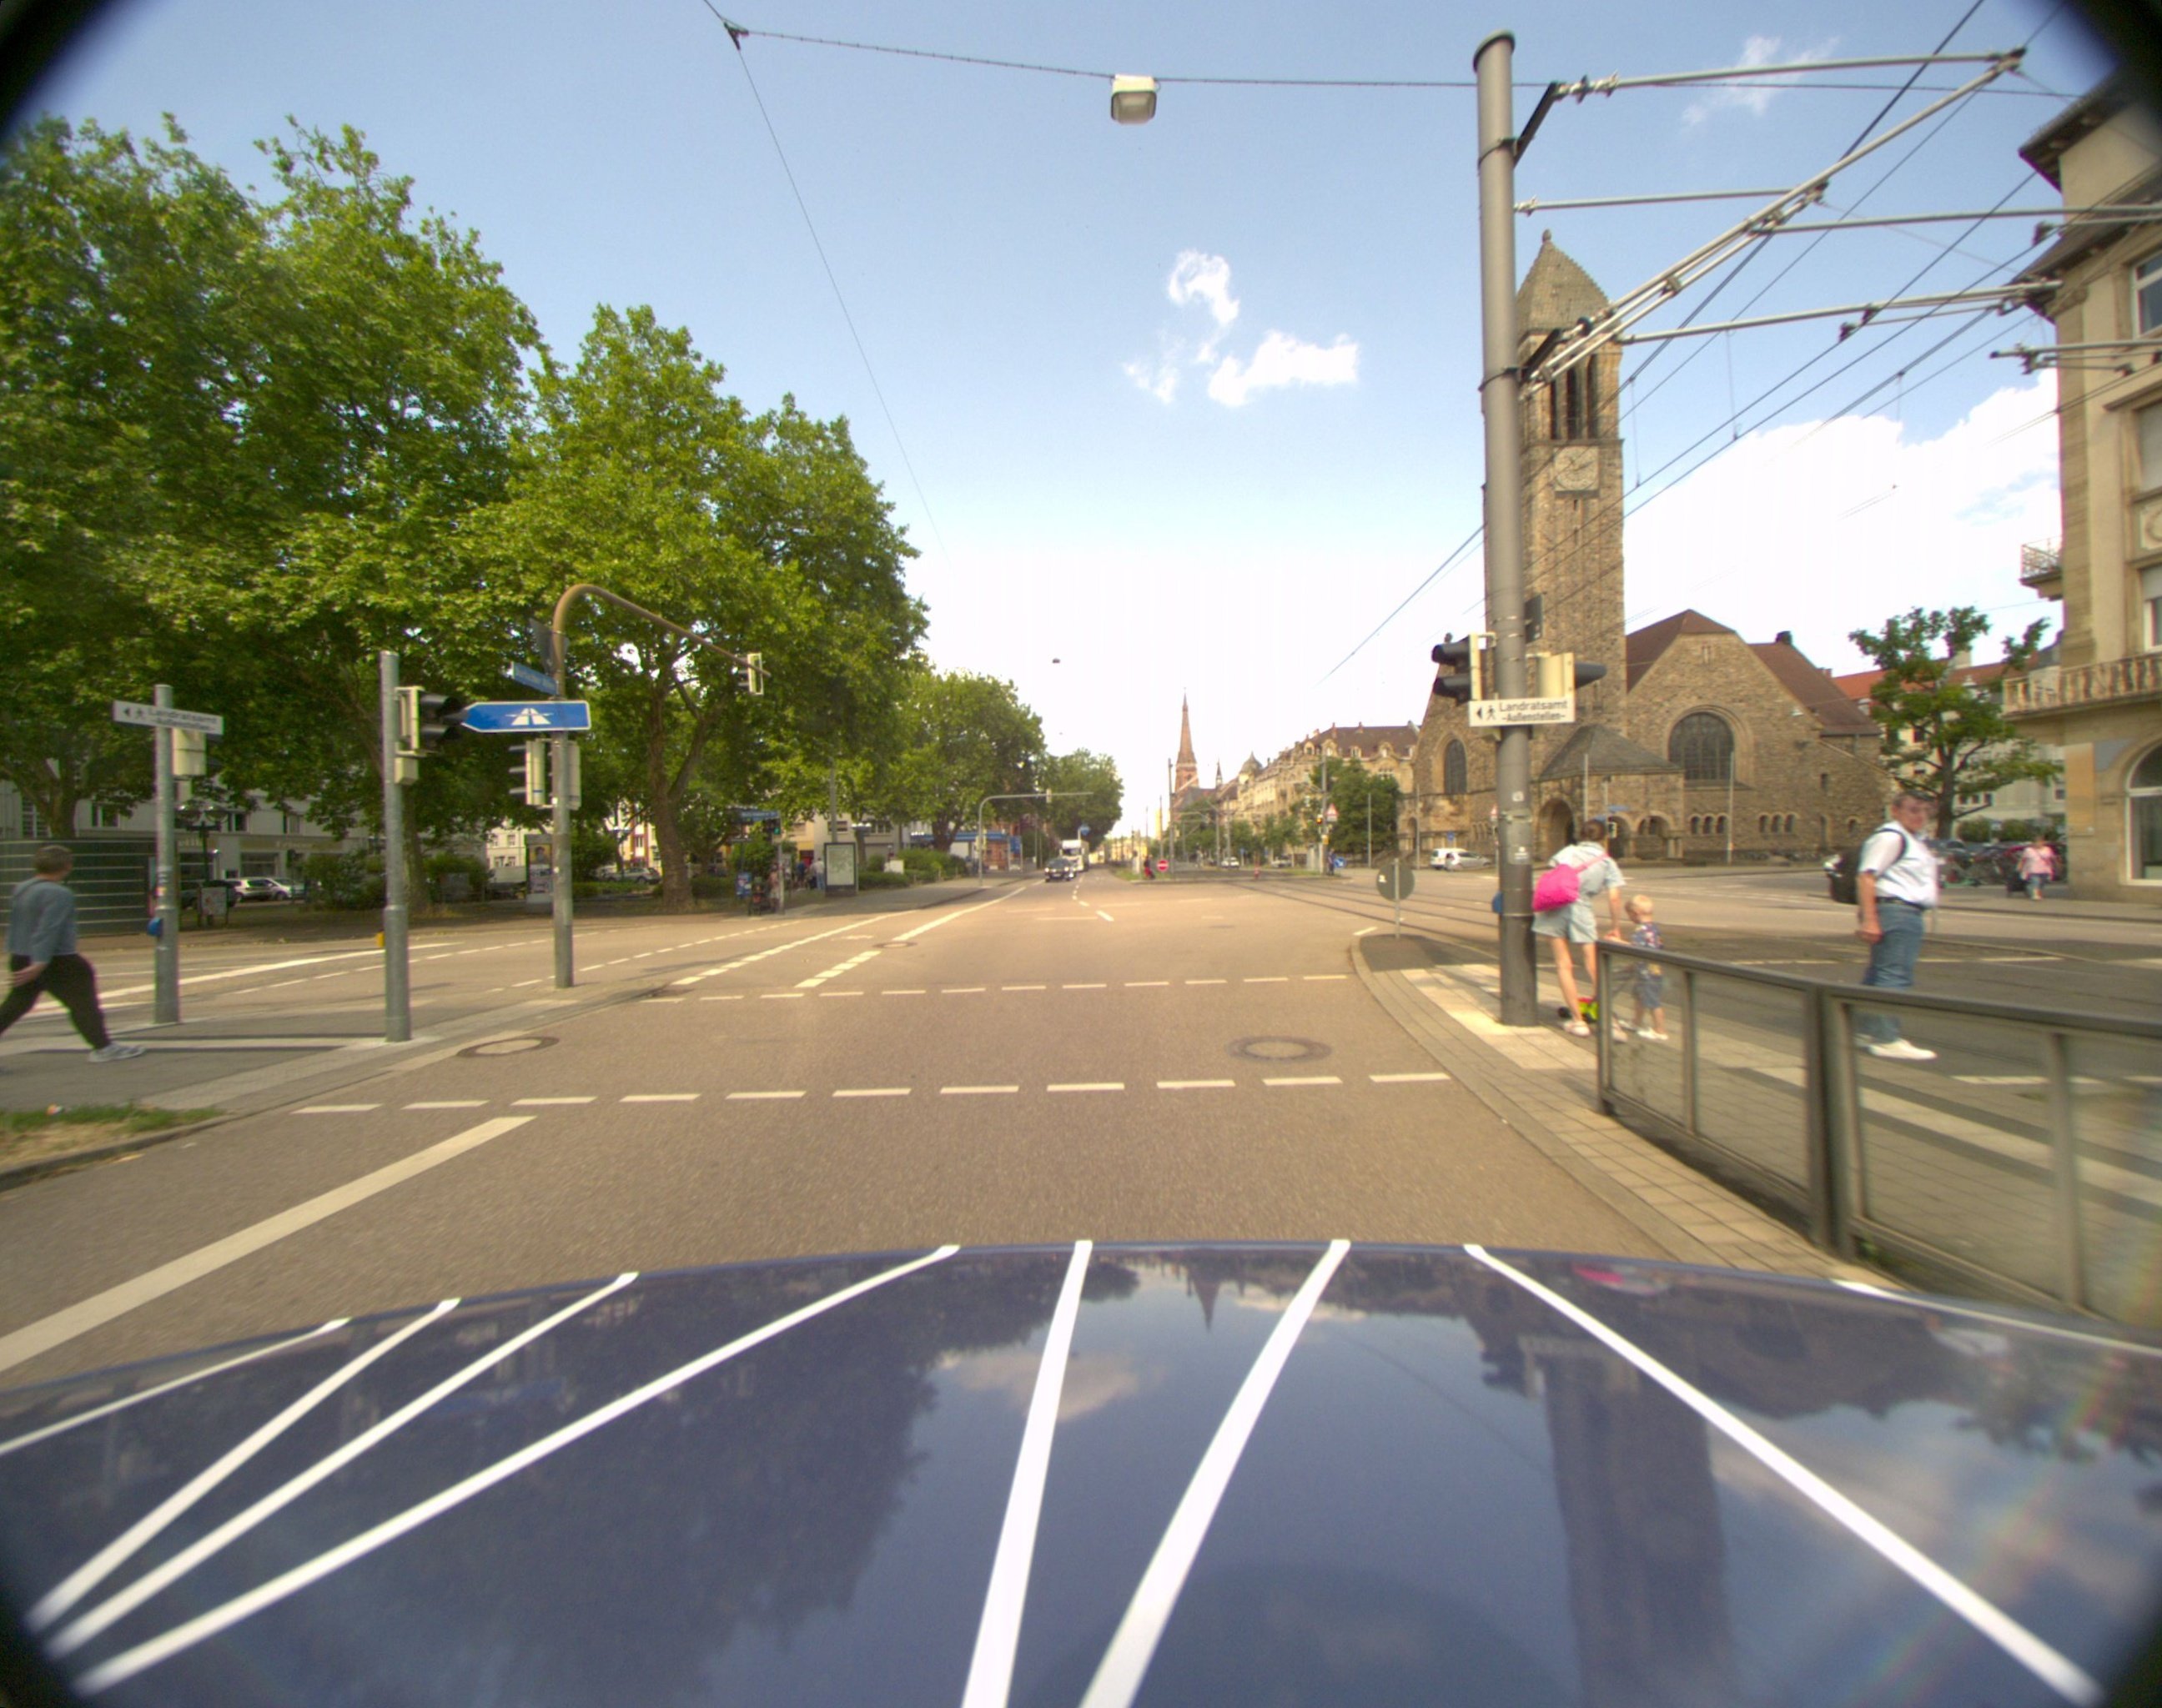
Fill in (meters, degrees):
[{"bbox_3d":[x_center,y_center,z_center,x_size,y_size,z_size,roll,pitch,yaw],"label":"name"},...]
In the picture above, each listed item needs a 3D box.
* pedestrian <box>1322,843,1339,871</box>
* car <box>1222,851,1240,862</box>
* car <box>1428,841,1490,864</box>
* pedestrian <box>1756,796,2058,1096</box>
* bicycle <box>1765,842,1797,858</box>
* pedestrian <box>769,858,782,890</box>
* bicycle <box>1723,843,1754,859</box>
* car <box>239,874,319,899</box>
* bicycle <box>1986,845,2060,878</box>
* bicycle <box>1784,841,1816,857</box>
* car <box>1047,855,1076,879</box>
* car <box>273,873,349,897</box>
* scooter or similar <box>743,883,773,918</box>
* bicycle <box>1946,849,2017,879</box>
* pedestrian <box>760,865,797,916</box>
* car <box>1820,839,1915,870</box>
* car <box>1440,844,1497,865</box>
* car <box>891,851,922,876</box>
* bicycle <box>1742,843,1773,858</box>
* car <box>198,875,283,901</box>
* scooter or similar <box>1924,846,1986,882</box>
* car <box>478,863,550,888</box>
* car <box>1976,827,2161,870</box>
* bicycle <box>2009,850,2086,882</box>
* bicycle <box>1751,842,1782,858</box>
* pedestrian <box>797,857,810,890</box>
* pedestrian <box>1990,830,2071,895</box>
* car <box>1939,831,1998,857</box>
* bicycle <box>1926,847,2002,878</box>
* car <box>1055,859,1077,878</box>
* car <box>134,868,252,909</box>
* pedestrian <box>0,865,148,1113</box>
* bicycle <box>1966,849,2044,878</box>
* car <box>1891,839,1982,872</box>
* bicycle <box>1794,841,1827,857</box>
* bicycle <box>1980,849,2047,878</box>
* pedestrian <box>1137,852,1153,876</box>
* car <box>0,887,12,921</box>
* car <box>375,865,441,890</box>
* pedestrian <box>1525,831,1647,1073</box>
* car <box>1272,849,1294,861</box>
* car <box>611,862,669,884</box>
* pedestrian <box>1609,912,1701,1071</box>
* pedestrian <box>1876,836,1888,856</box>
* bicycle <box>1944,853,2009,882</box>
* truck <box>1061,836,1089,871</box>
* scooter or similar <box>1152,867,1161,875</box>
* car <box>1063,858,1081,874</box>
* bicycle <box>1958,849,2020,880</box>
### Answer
[{"bbox_3d":[15.367,0.185,46.731,0.772,1.721,0.744,-1,0,0],"label":"pedestrian"},{"bbox_3d":[20.745,0.353,105.254,1.819,1.497,4.132,-2,0,2],"label":"car"},{"bbox_3d":[32.200,-0.104,64.754,4.302,1.842,2.000,0,-1,0],"label":"car"},{"bbox_3d":[5.392,0.552,5.054,0.850,1.770,1.045,-2,0,1],"label":"pedestrian"},{"bbox_3d":[54.025,-0.335,58.654,0.586,1.106,1.938,-2,3,-3],"label":"bicycle"},{"bbox_3d":[-16.653,1.080,41.440,0.606,1.740,0.697,-1,1,-23],"label":"pedestrian"},{"bbox_3d":[50.738,-0.239,58.665,0.586,1.106,1.938,-2,3,-3],"label":"bicycle"},{"bbox_3d":[-58.079,2.343,55.049,3.996,1.627,1.744,-2,1,3],"label":"car"},{"bbox_3d":[31.677,0.270,25.575,0.481,1.045,1.442,-1,-2,-14],"label":"bicycle"},{"bbox_3d":[55.577,-0.381,58.765,0.586,1.106,1.938,-2,3,-3],"label":"bicycle"},{"bbox_3d":[-1.442,0.928,57.111,1.853,1.716,4.419,-1,0,2],"label":"car"},{"bbox_3d":[-58.212,2.334,57.493,3.996,1.627,1.744,-2,1,3],"label":"car"},{"bbox_3d":[-10.370,1.488,24.422,0.489,1.050,0.710,-1,1,39],"label":"scooter or similar"},{"bbox_3d":[32.765,0.372,27.674,0.481,1.045,1.581,-1,-2,-16],"label":"bicycle"},{"bbox_3d":[-9.940,1.179,24.957,0.568,1.636,0.925,-1,1,39],"label":"pedestrian"},{"bbox_3d":[39.514,-0.003,38.179,4.391,1.440,1.824,-1,2,-23],"label":"car"},{"bbox_3d":[31.304,0.059,61.422,3.635,1.668,1.819,0,-1,-2],"label":"car"},{"bbox_3d":[-17.904,0.915,78.215,2.111,2.406,4.000,-2,0,2],"label":"car"},{"bbox_3d":[52.311,-0.285,58.756,0.586,1.106,1.938,-2,3,-3],"label":"bicycle"},{"bbox_3d":[-58.290,2.360,52.719,3.996,1.627,1.744,-2,1,3],"label":"car"},{"bbox_3d":[28.973,0.337,25.204,0.481,1.139,1.253,-2,-2,-6],"label":"scooter or similar"},{"bbox_3d":[-47.620,1.770,63.852,4.487,1.894,2.104,-2,1,3],"label":"car"},{"bbox_3d":[38.592,-0.163,29.861,3.990,1.448,1.816,-3,-3,28],"label":"car"},{"bbox_3d":[33.716,0.428,26.534,0.481,1.045,1.581,-1,-2,-16],"label":"bicycle"},{"bbox_3d":[53.027,-0.306,58.773,0.586,1.106,1.938,-2,3,-3],"label":"bicycle"},{"bbox_3d":[-15.121,1.054,41.426,0.606,1.740,0.697,-1,1,-23],"label":"pedestrian"},{"bbox_3d":[24.160,0.219,19.345,0.997,1.584,0.943,-1,-3,-23],"label":"pedestrian"},{"bbox_3d":[64.565,-0.706,55.265,4.004,1.780,1.681,-1,0,-23],"label":"car"},{"bbox_3d":[31.898,0.330,27.486,0.531,1.045,1.736,-2,-2,-8],"label":"bicycle"},{"bbox_3d":[-1.261,1.222,65.628,1.733,1.457,4.327,-1,0,1],"label":"car"},{"bbox_3d":[-48.503,1.863,41.561,3.997,2.002,2.000,-2,1,-1],"label":"car"},{"bbox_3d":[-8.109,0.983,5.849,0.694,1.773,0.887,-2,0,3],"label":"pedestrian"},{"bbox_3d":[35.356,0.366,29.096,1.808,1.045,0.559,-3,-2,21],"label":"bicycle"},{"bbox_3d":[39.518,0.048,35.104,3.822,1.425,1.715,-2,1,-24],"label":"car"},{"bbox_3d":[56.381,-0.405,58.753,0.586,1.106,1.938,-2,3,-3],"label":"bicycle"},{"bbox_3d":[34.855,0.366,28.414,0.463,1.045,1.481,0,-2,-28],"label":"bicycle"},{"bbox_3d":[4.013,0.636,47.501,0.776,1.483,0.657,-2,1,-11],"label":"pedestrian"},{"bbox_3d":[-47.744,2.171,31.518,3.997,1.414,2.000,-2,0,1],"label":"car"},{"bbox_3d":[-58.316,2.051,65.886,3.996,1.953,2.000,-2,1,3],"label":"car"},{"bbox_3d":[3.712,0.676,5.640,0.624,1.656,0.677,-1,1,24],"label":"pedestrian"},{"bbox_3d":[25.530,0.162,96.194,1.788,1.486,3.838,-2,0,1],"label":"car"},{"bbox_3d":[-39.227,1.716,67.612,3.996,1.789,1.869,-2,1,3],"label":"car"},{"bbox_3d":[4.133,0.964,5.494,0.419,1.057,0.437,-1,1,23],"label":"pedestrian"},{"bbox_3d":[57.145,-0.553,54.206,0.557,1.447,0.465,-1,1,-29],"label":"pedestrian"},{"bbox_3d":[33.662,0.509,28.577,0.463,1.045,1.482,-1,-2,-23],"label":"bicycle"},{"bbox_3d":[-0.678,-0.077,95.872,2.914,4.125,6.592,-2,0,4],"label":"truck"},{"bbox_3d":[4.774,1.077,47.892,0.521,0.532,0.310,0,0,-12],"label":"scooter or similar"},{"bbox_3d":[-0.868,1.263,78.635,1.685,1.554,3.753,-1,0,1],"label":"car"},{"bbox_3d":[33.374,0.399,27.941,0.418,1.045,1.371,-1,-3,-25],"label":"bicycle"}]
